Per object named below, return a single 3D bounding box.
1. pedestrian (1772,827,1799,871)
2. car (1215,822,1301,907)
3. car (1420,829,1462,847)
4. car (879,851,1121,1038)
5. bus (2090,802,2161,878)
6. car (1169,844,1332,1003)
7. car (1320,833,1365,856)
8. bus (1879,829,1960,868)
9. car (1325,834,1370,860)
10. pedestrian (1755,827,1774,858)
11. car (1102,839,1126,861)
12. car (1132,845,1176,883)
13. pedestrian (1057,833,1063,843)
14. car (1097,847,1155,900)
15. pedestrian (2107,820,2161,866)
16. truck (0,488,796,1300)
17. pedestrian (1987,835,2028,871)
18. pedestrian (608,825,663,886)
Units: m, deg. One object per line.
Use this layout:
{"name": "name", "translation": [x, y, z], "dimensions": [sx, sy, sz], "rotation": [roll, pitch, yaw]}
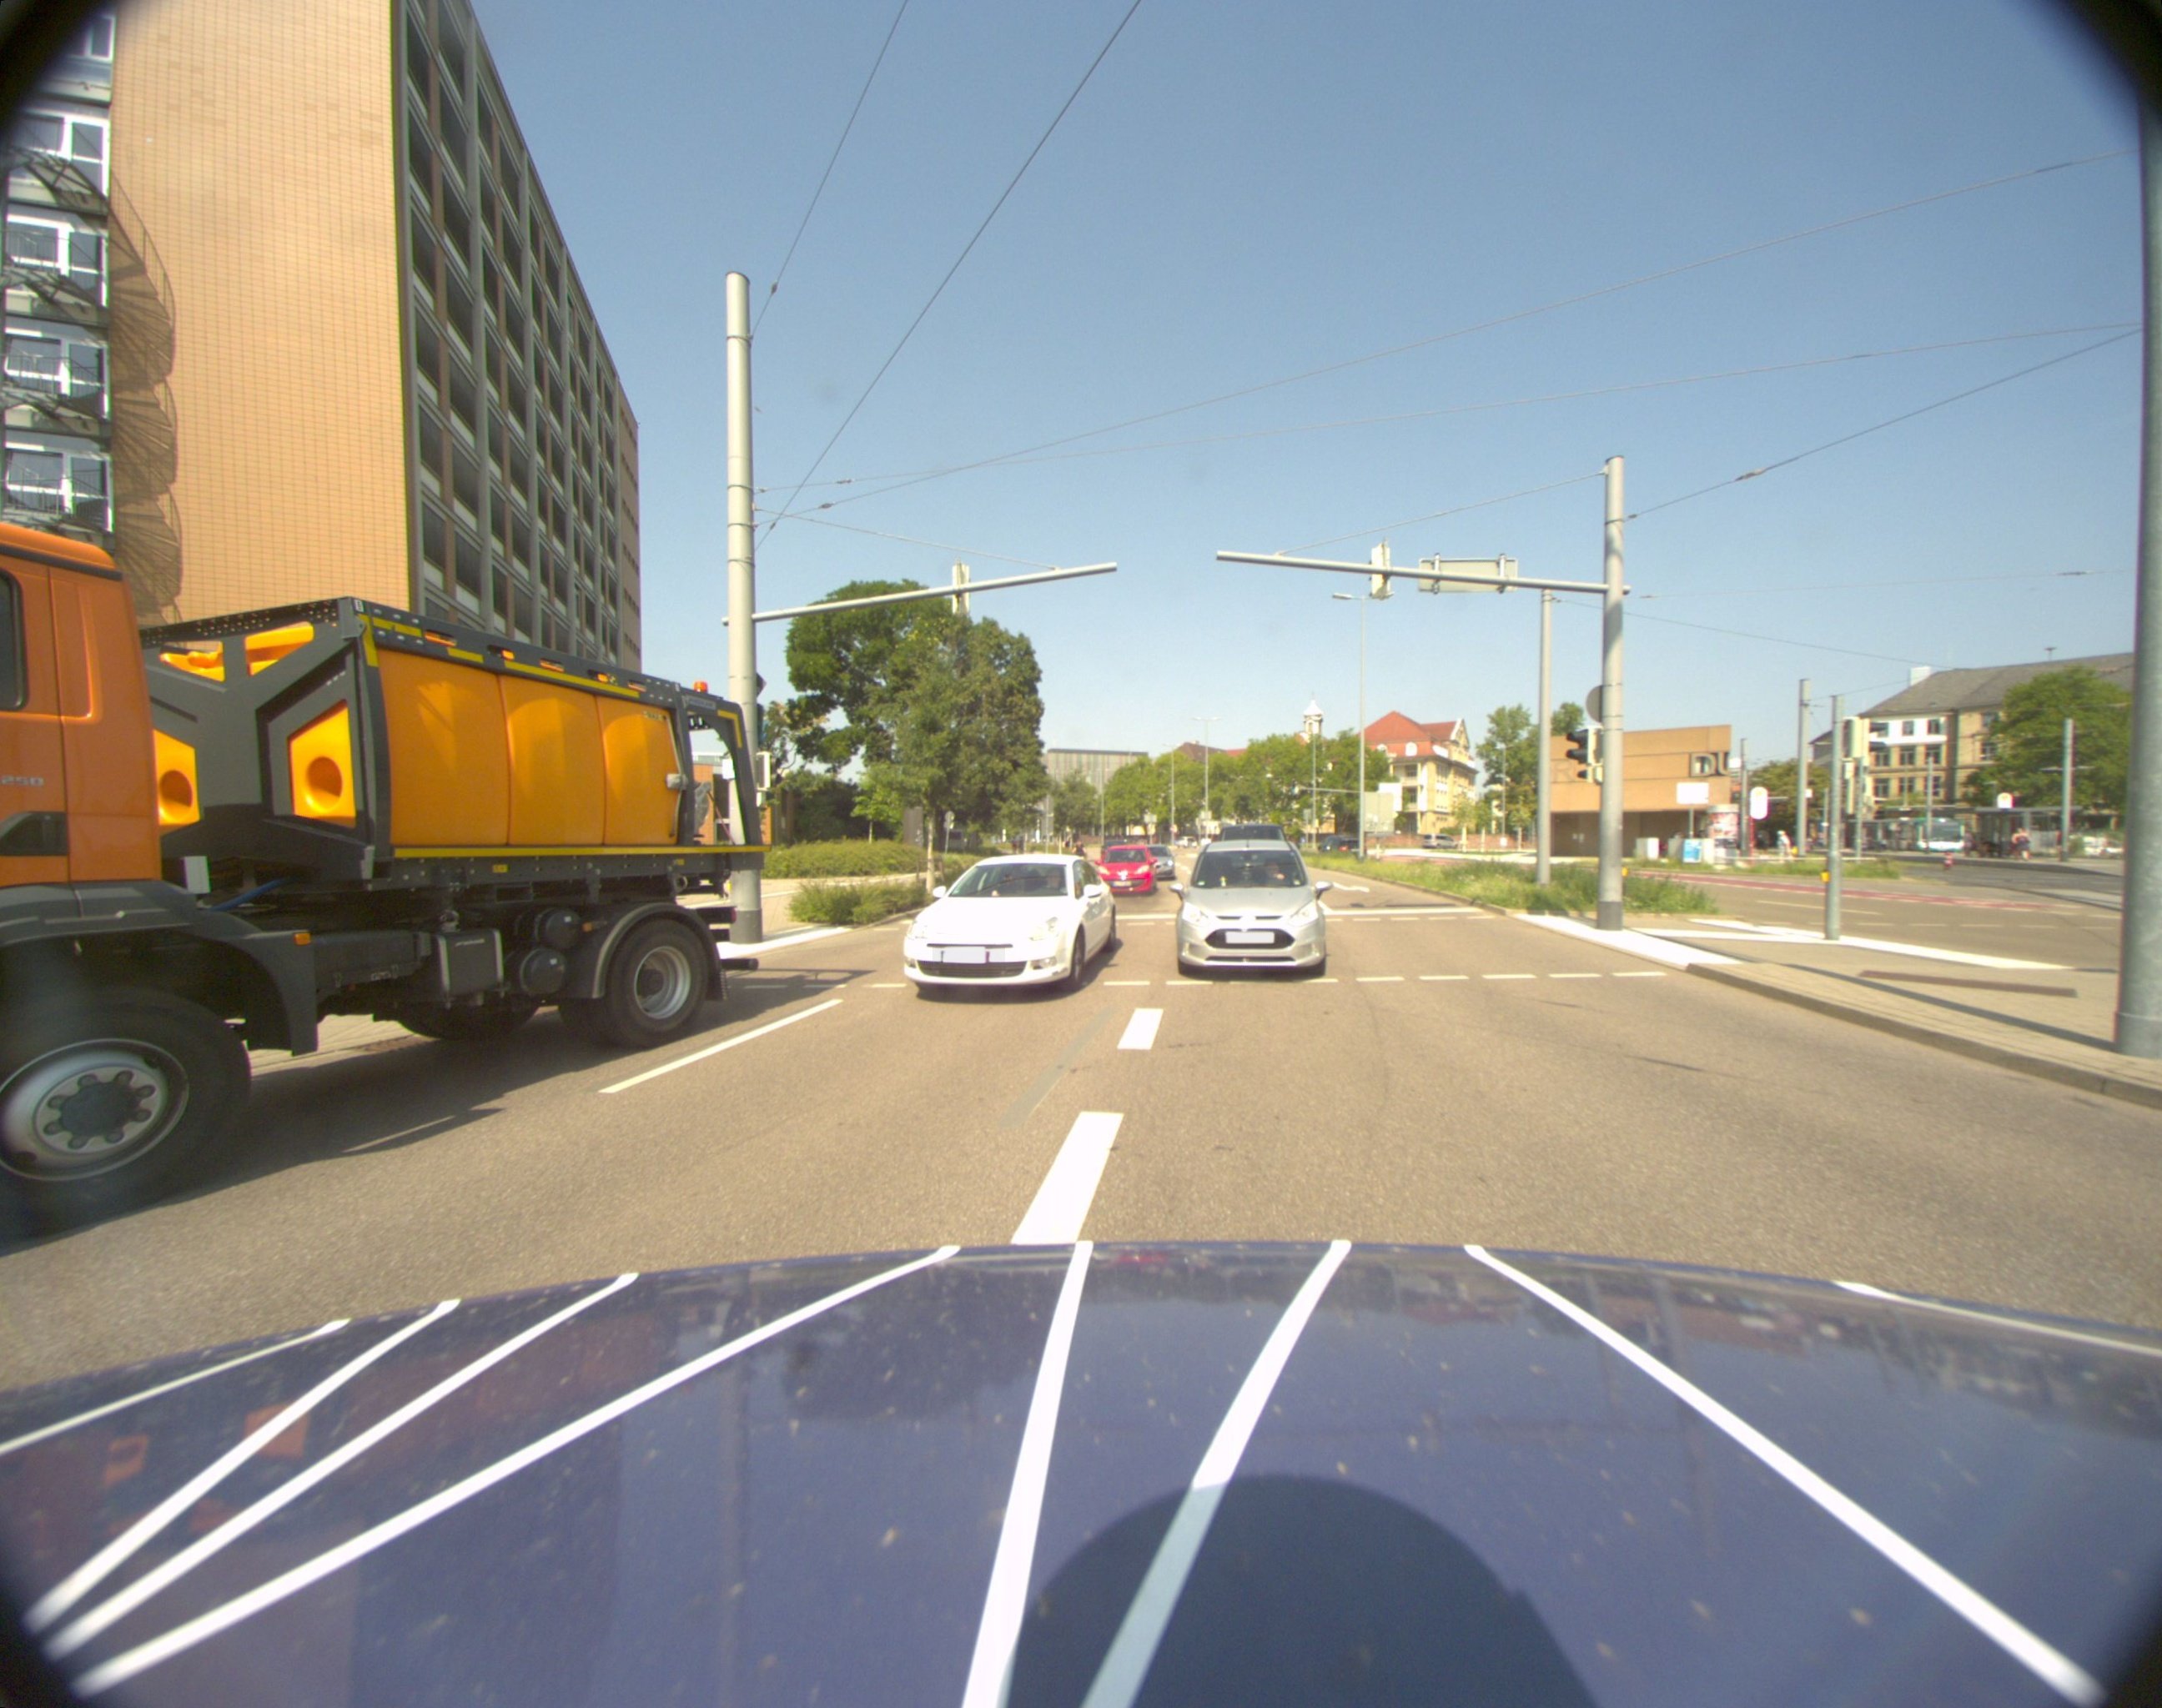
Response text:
{"name": "pedestrian", "translation": [29.017, -0.213, 31.294], "dimensions": [0.560, 1.806, 0.561], "rotation": [0, 2, 11]}
{"name": "car", "translation": [4.463, 0.180, 19.811], "dimensions": [1.898, 1.920, 4.888], "rotation": [0, 1, 10]}
{"name": "car", "translation": [40.364, -1.792, 85.270], "dimensions": [4.004, 1.959, 1.996], "rotation": [-1, 2, -20]}
{"name": "car", "translation": [-0.664, 0.856, 9.462], "dimensions": [1.769, 1.609, 4.605], "rotation": [-2, 2, 9]}
{"name": "bus", "translation": [47.959, -0.574, 31.979], "dimensions": [2.669, 3.312, 12.782], "rotation": [1, 2, 35]}
{"name": "car", "translation": [2.337, 0.690, 10.205], "dimensions": [1.689, 1.586, 4.365], "rotation": [0, 2, 15]}
{"name": "car", "translation": [19.040, -0.722, 55.445], "dimensions": [1.901, 1.643, 4.656], "rotation": [0, 1, 3]}
{"name": "bus", "translation": [75.164, -0.586, 68.360], "dimensions": [2.535, 3.015, 12.457], "rotation": [0, 2, 37]}
{"name": "car", "translation": [16.142, -0.473, 46.178], "dimensions": [1.678, 1.511, 3.706], "rotation": [0, 2, 5]}
{"name": "pedestrian", "translation": [36.252, -0.627, 40.292], "dimensions": [0.571, 1.636, 0.511], "rotation": [-2, 2, -4]}
{"name": "car", "translation": [2.250, -0.310, 52.964], "dimensions": [1.616, 1.415, 3.606], "rotation": [0, 2, 2]}
{"name": "car", "translation": [2.851, 0.368, 30.296], "dimensions": [1.516, 1.331, 3.507], "rotation": [-2, 2, 2]}
{"name": "pedestrian", "translation": [-3.627, -2.727, 129.110], "dimensions": [0.968, 1.775, 1.117], "rotation": [0, 2, 2]}
{"name": "car", "translation": [1.407, 0.526, 22.731], "dimensions": [1.515, 1.401, 3.360], "rotation": [0, 1, 7]}
{"name": "pedestrian", "translation": [41.614, -0.437, 30.036], "dimensions": [0.959, 1.770, 0.785], "rotation": [1, 2, -5]}
{"name": "truck", "translation": [-5.392, 0.154, 4.666], "dimensions": [3.036, 3.211, 7.198], "rotation": [-1, 1, 16]}
{"name": "pedestrian", "translation": [46.749, -0.056, 38.350], "dimensions": [0.785, 1.770, 0.959], "rotation": [1, 2, -1]}
{"name": "pedestrian", "translation": [-10.404, 0.019, 17.786], "dimensions": [0.786, 1.387, 0.847], "rotation": [0, 2, -5]}
